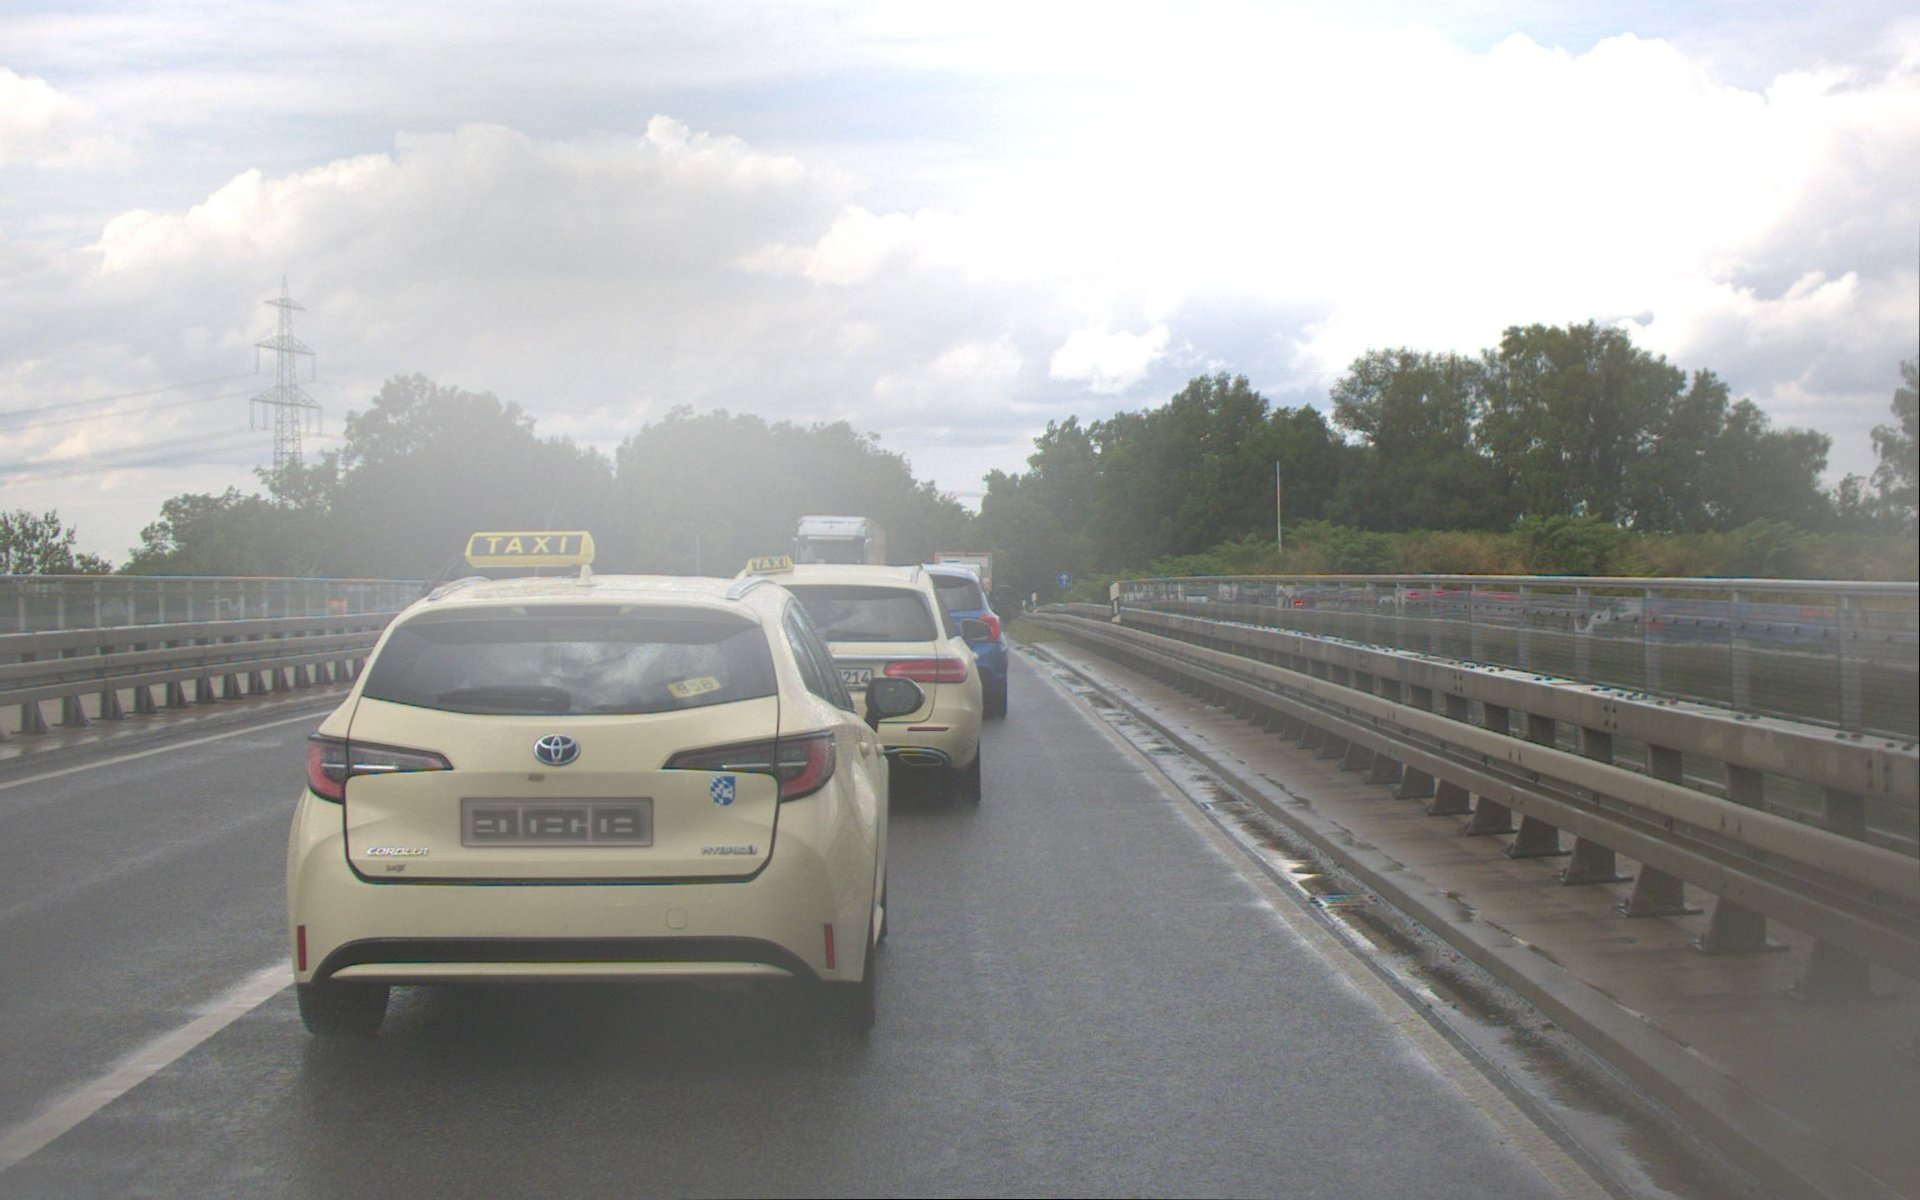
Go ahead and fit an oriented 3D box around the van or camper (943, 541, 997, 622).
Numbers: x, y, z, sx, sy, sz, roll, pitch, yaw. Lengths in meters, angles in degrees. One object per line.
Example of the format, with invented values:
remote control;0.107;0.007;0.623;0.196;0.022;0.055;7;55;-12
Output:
van or camper;0.441;-0.843;156.318;2.332;3.550;6.306;1;0;0

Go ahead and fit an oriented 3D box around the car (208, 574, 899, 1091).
car;-1.170;0.631;11.653;1.854;1.389;4.171;1;1;0

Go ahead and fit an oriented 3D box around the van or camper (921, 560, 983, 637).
van or camper;-0.311;-0.077;132.930;2.332;2.854;6.306;1;0;0

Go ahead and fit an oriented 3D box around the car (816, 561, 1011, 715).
car;-0.453;0.344;35.095;1.854;1.438;4.171;1;1;0

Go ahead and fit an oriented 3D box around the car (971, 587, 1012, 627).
car;1.641;0.364;179.159;1.993;2.007;4.000;1;0;-1

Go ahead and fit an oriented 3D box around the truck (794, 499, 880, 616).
truck;-4.343;-1.505;122.950;2.682;4.003;10.055;0;1;0

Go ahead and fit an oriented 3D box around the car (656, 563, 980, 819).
car;-0.830;0.503;21.939;1.854;1.438;4.171;1;1;0

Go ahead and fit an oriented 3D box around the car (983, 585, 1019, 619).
car;2.434;0.099;205.154;1.993;2.007;4.000;1;0;-1
